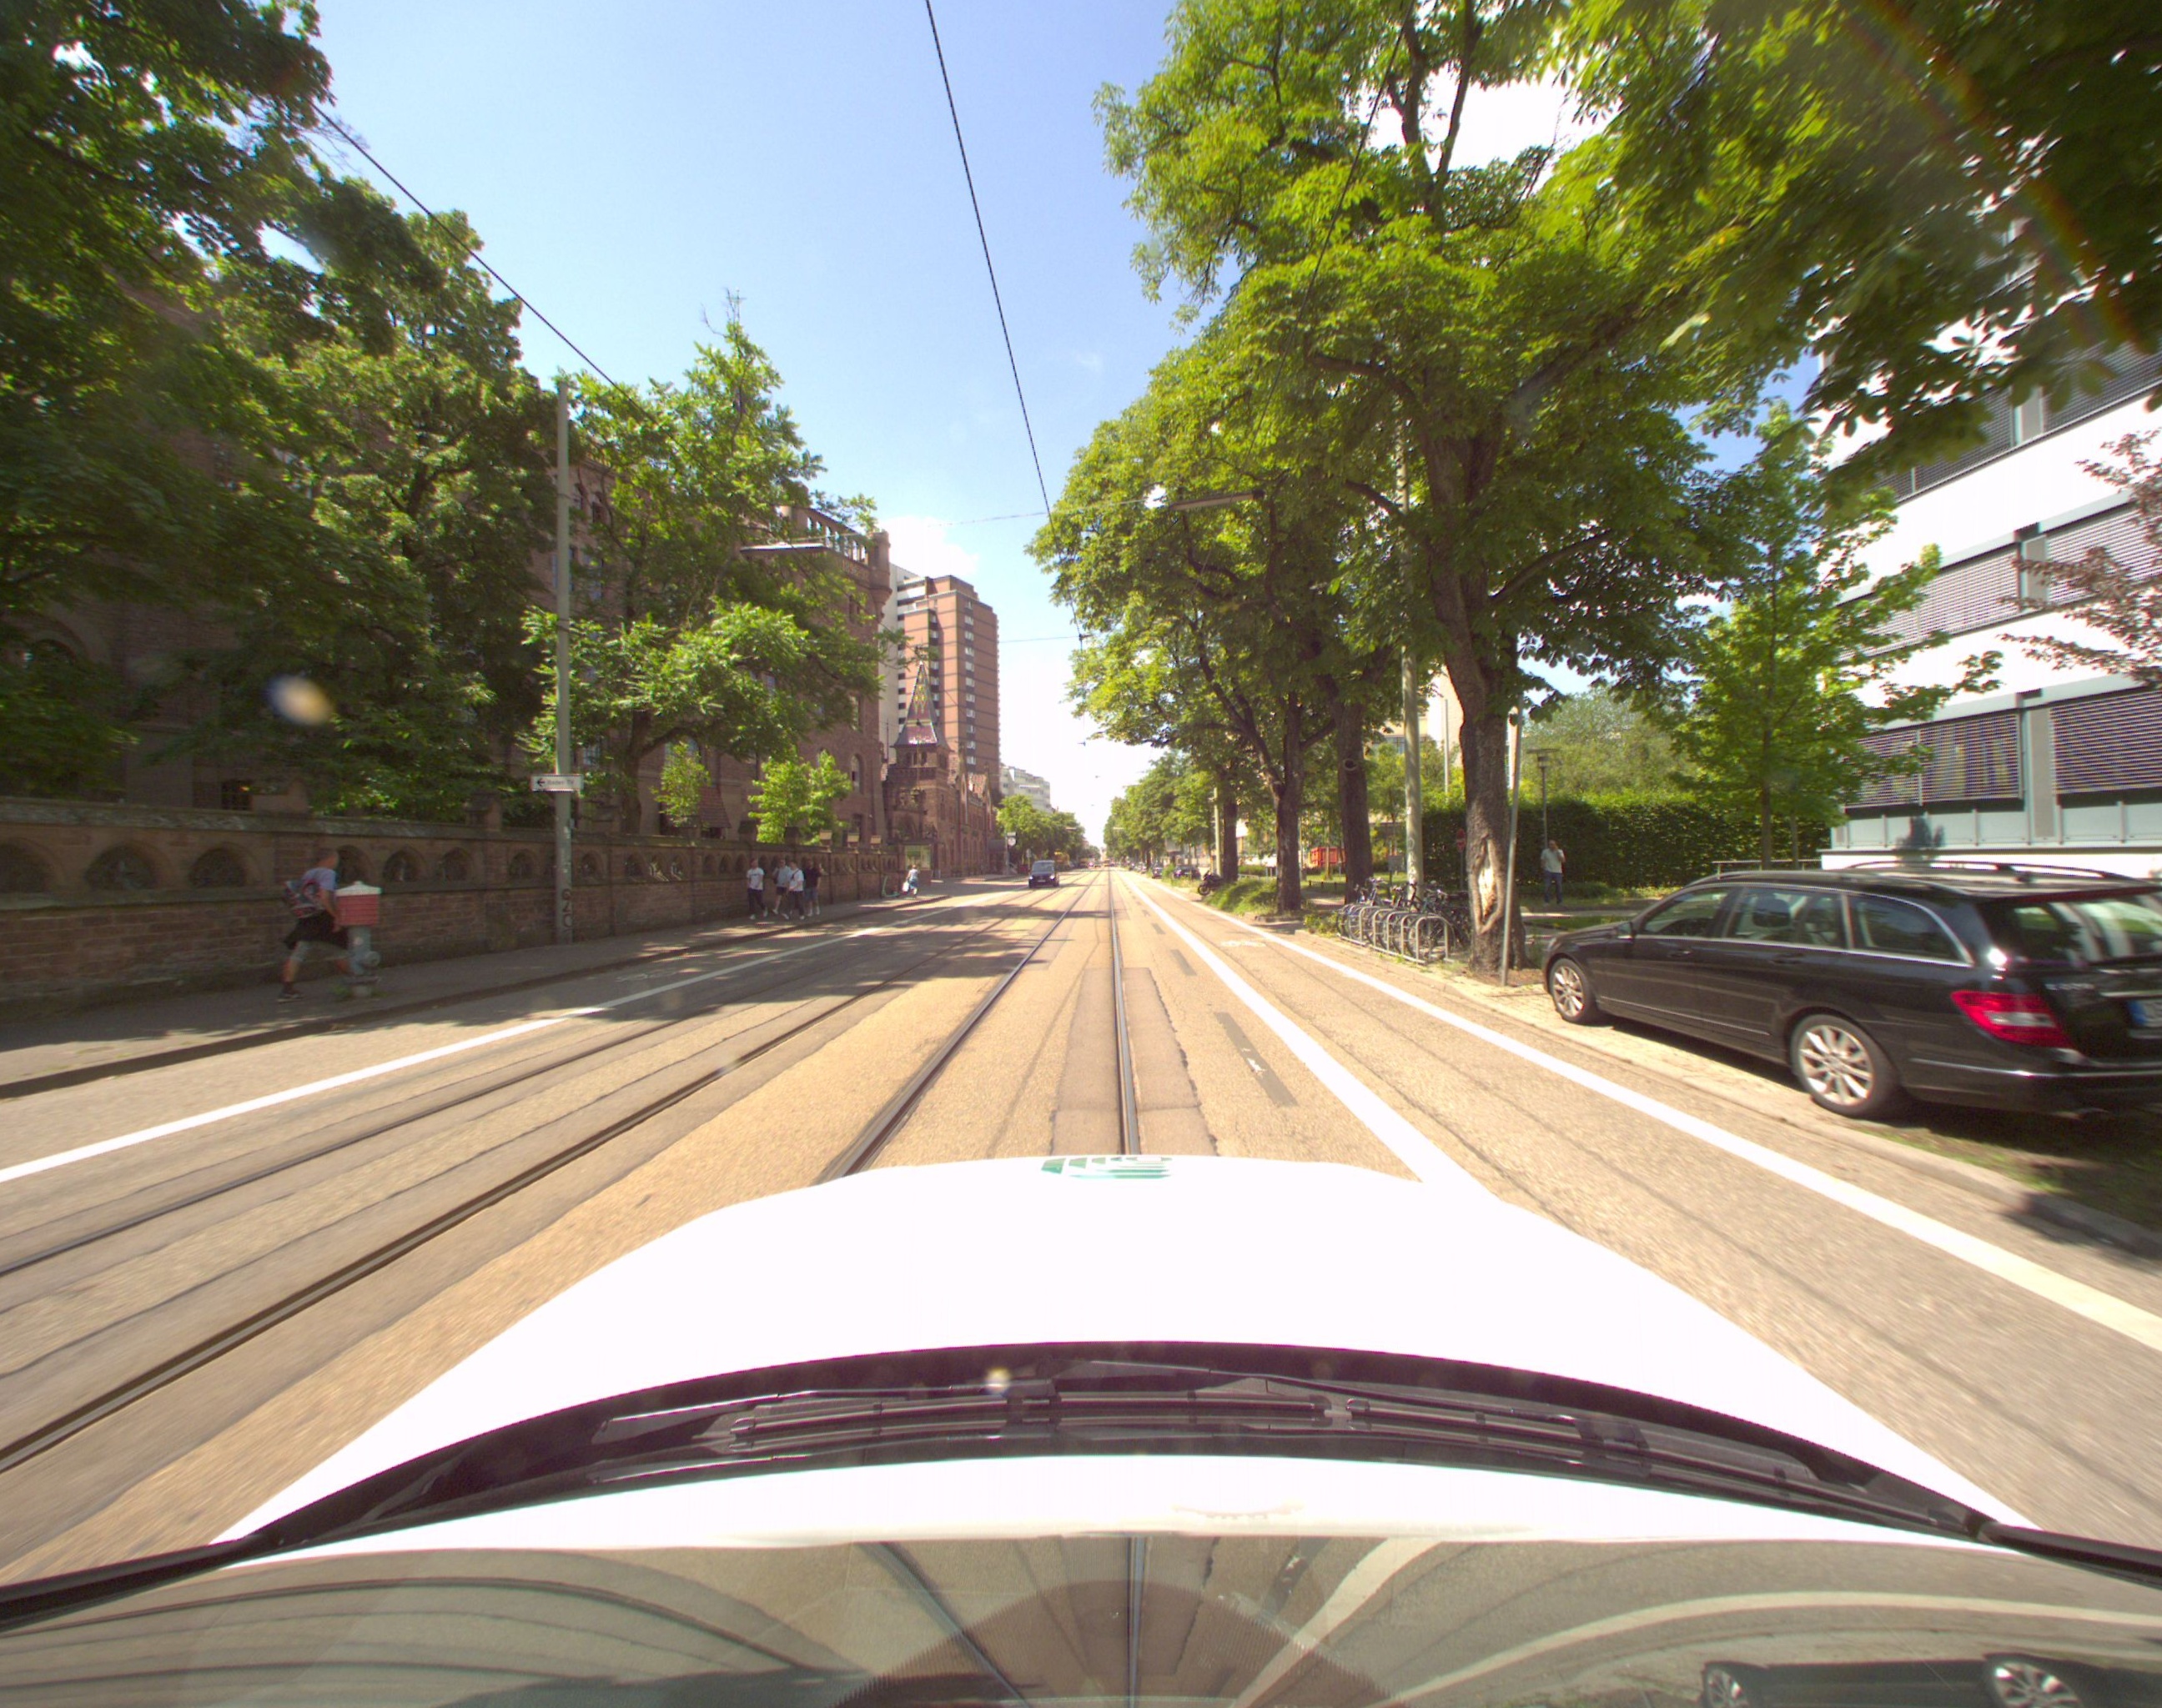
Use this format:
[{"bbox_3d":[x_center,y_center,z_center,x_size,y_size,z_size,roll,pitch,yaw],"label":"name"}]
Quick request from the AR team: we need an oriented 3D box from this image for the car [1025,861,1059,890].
[{"bbox_3d":[-2.564,1.422,54.687,1.897,1.788,4.257,-2,-1,2],"label":"car"}]

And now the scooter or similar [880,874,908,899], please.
[{"bbox_3d":[-8.627,1.516,37.625,1.232,1.127,0.344,2,-2,-45],"label":"scooter or similar"}]

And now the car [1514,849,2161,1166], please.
[{"bbox_3d":[5.373,0.758,6.249,1.670,1.467,4.635,-2,-1,1],"label":"car"}]

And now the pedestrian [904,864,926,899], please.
[{"bbox_3d":[-7.912,1.304,38.786,0.796,1.589,0.920,1,-1,2],"label":"pedestrian"}]

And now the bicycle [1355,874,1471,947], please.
[{"bbox_3d":[5.578,0.928,13.682,1.809,1.111,0.488,-2,-1,-12],"label":"bicycle"}]

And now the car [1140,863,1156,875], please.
[{"bbox_3d":[8.857,1.984,107.308,1.666,1.499,4.363,-2,-1,-1],"label":"car"}]

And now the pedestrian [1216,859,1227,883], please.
[{"bbox_3d":[9.662,1.160,56.122,0.616,1.573,0.611,-3,-1,2],"label":"pedestrian"}]

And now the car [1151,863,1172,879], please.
[{"bbox_3d":[7.592,1.587,77.227,1.665,1.408,4.750,-2,-1,1],"label":"car"}]

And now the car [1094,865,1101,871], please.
[{"bbox_3d":[4.921,4.261,245.216,1.824,1.681,4.186,-2,-1,2],"label":"car"}]

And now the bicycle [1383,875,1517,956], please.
[{"bbox_3d":[5.608,0.919,12.404,1.806,1.111,0.534,-2,-1,-8],"label":"bicycle"}]

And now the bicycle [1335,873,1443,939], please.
[{"bbox_3d":[5.647,0.941,14.954,1.803,1.111,0.395,-2,-1,-2],"label":"bicycle"}]

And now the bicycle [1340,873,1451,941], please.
[{"bbox_3d":[5.605,0.932,14.555,1.802,1.111,0.395,-2,-1,-2],"label":"bicycle"}]

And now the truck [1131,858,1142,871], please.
[{"bbox_3d":[10.979,2.151,161.747,2.007,2.489,5.957,-2,-1,1],"label":"truck"}]

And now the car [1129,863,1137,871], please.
[{"bbox_3d":[11.509,2.892,181.204,1.637,1.534,3.788,-2,-1,4],"label":"car"}]

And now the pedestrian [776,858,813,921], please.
[{"bbox_3d":[-8.361,1.019,23.772,0.674,1.790,0.920,1,-1,2],"label":"pedestrian"}]

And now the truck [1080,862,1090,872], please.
[{"bbox_3d":[1.203,3.692,231.093,2.350,2.852,7.385,-3,-1,4],"label":"truck"}]

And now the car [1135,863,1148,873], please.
[{"bbox_3d":[8.932,2.064,120.504,1.665,1.518,4.202,-2,-1,1],"label":"car"}]

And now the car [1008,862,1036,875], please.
[{"bbox_3d":[-12.095,2.930,167.189,2.157,2.566,6.766,-2,-2,32],"label":"car"}]

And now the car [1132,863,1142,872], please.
[{"bbox_3d":[10.428,2.465,151.100,1.816,1.471,4.405,-2,-1,5],"label":"car"}]

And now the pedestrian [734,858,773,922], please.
[{"bbox_3d":[-9.408,1.013,23.444,0.674,1.776,0.920,1,-1,2],"label":"pedestrian"}]

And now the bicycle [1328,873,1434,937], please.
[{"bbox_3d":[5.650,0.946,15.385,1.803,1.111,0.449,-2,-1,-2],"label":"bicycle"}]

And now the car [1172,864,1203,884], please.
[{"bbox_3d":[7.127,1.330,55.027,1.744,1.270,3.835,0,-1,2],"label":"car"}]

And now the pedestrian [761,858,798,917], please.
[{"bbox_3d":[-9.382,1.028,25.381,0.749,1.776,0.920,1,-1,2],"label":"pedestrian"}]

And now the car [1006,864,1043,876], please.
[{"bbox_3d":[-7.818,2.215,113.201,4.790,1.566,1.984,-1,-1,-27],"label":"car"}]

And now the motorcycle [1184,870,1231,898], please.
[{"bbox_3d":[5.580,1.346,35.965,2.035,1.213,0.617,-3,-3,41],"label":"motorcycle"}]

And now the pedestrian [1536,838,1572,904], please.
[{"bbox_3d":[12.714,0.462,21.892,0.661,1.749,0.620,-1,-2,-44],"label":"pedestrian"}]

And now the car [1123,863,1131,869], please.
[{"bbox_3d":[12.184,3.253,215.011,1.634,1.485,3.871,-2,-2,-1],"label":"car"}]

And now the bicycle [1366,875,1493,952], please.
[{"bbox_3d":[5.559,0.931,13.024,1.806,1.111,0.532,-2,-1,-8],"label":"bicycle"}]

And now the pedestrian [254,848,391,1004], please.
[{"bbox_3d":[-9.161,0.836,9.879,0.719,1.792,0.920,1,-1,2],"label":"pedestrian"}]

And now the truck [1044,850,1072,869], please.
[{"bbox_3d":[-4.867,1.176,175.262,2.694,3.842,11.009,0,-1,16],"label":"truck"}]

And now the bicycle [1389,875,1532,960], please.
[{"bbox_3d":[5.455,0.906,11.754,1.803,1.111,0.514,-2,-1,-2],"label":"bicycle"}]

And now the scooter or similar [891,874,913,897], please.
[{"bbox_3d":[-9.031,1.571,41.091,0.325,1.127,1.230,-1,-1,30],"label":"scooter or similar"}]

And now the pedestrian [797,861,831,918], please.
[{"bbox_3d":[-8.355,1.089,25.485,0.674,1.749,0.920,1,-1,2],"label":"pedestrian"}]
